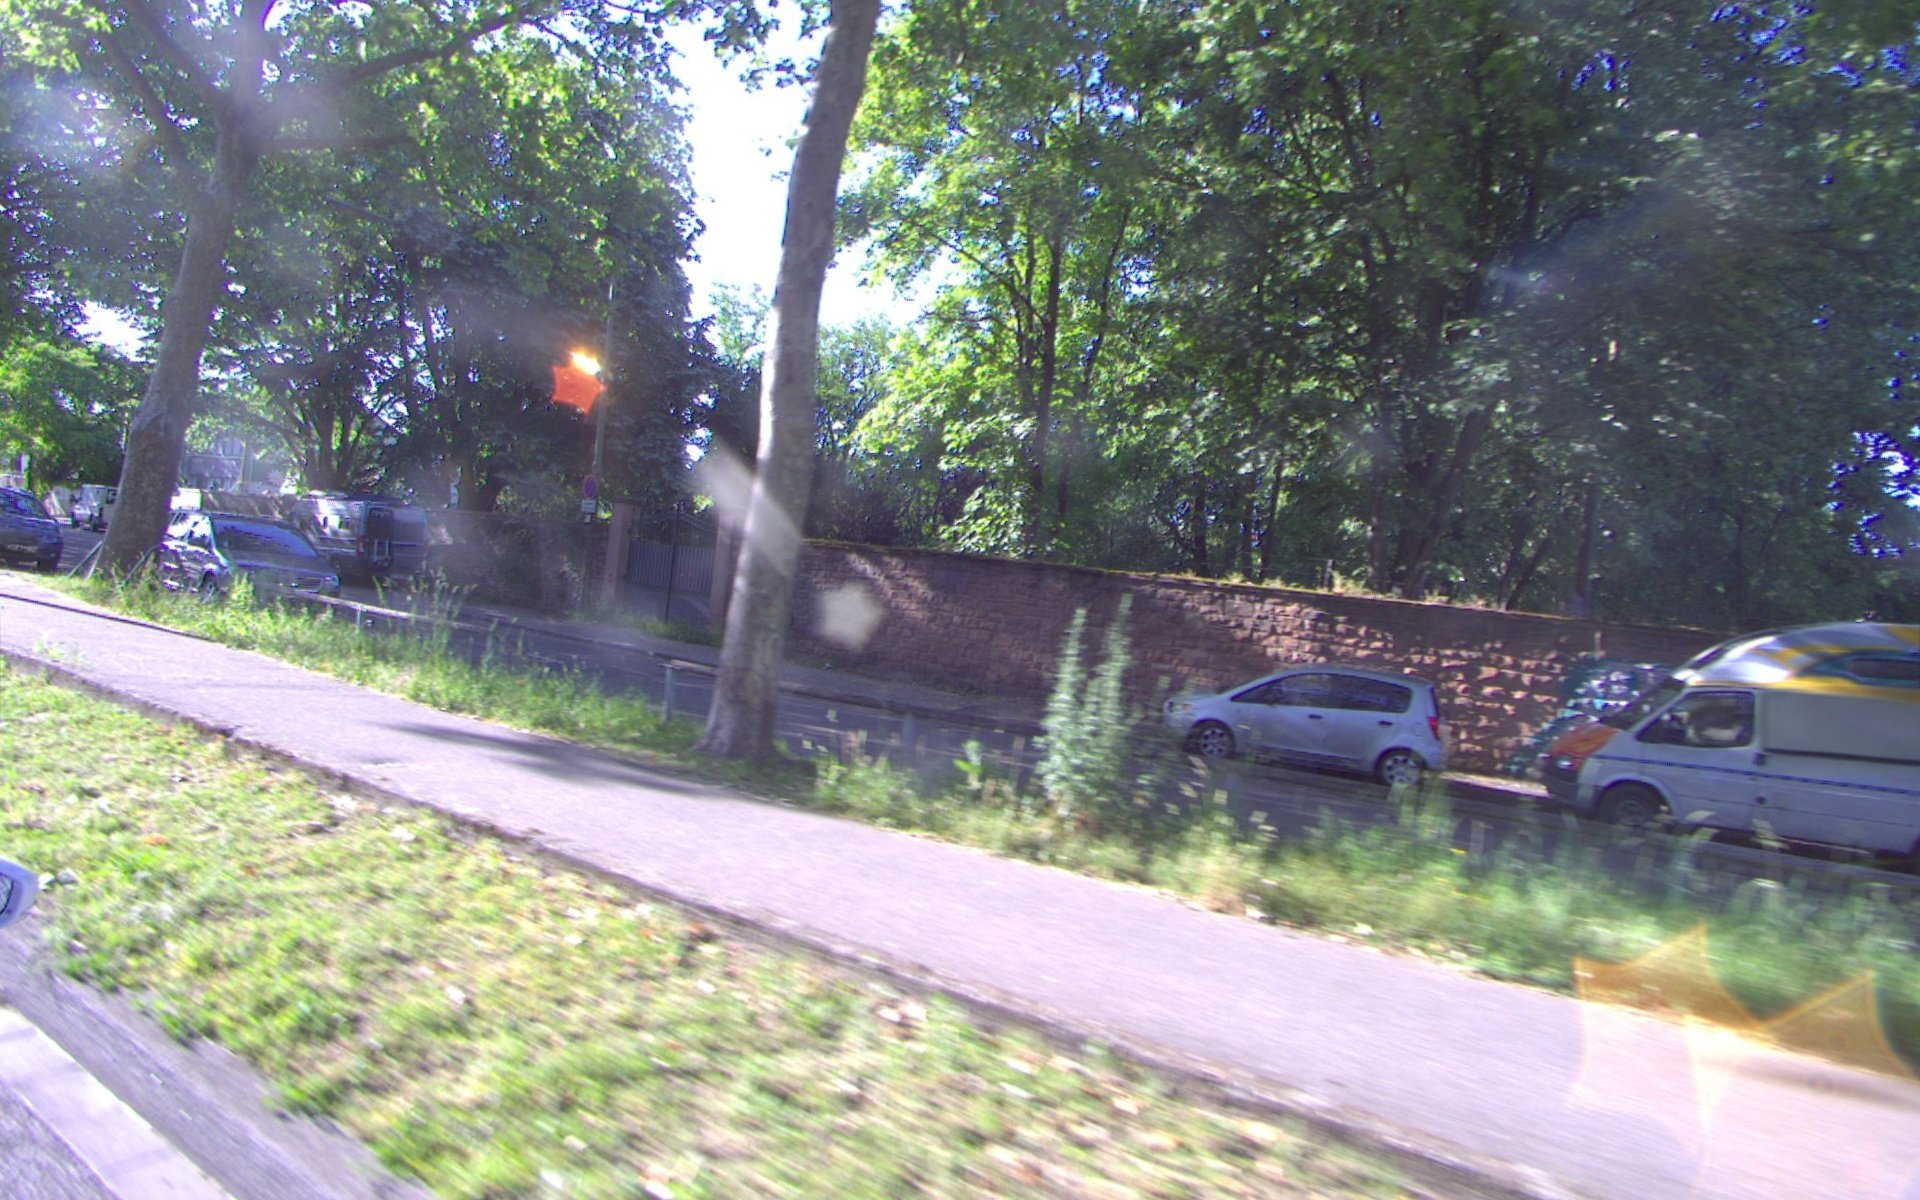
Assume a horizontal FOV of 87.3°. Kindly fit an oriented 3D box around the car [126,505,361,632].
[{"bbox_3d":[-12.248,-0.571,17.090,4.556,1.653,1.794,6,-2,36],"label":"car"}]

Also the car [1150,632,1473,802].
[{"bbox_3d":[4.907,1.539,14.322,3.926,1.640,1.842,7,4,21],"label":"car"}]

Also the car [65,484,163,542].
[{"bbox_3d":[-37.236,-3.830,44.252,4.866,2.038,2.087,6,-1,36],"label":"car"}]

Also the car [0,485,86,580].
[{"bbox_3d":[-19.267,-1.461,19.976,3.957,1.577,1.797,6,-4,35],"label":"car"}]

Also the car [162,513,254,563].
[{"bbox_3d":[-27.323,-2.264,36.518,3.701,1.491,1.688,6,2,37],"label":"car"}]

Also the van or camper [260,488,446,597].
[{"bbox_3d":[-18.893,-1.828,31.168,6.463,2.720,2.554,7,2,36],"label":"van or camper"}]

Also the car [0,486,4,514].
[{"bbox_3d":[-24.657,-2.212,23.964,3.821,1.454,1.796,6,-2,33],"label":"car"}]

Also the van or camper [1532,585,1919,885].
[{"bbox_3d":[9.552,1.457,11.557,4.879,2.768,1.995,6,3,29],"label":"van or camper"}]
